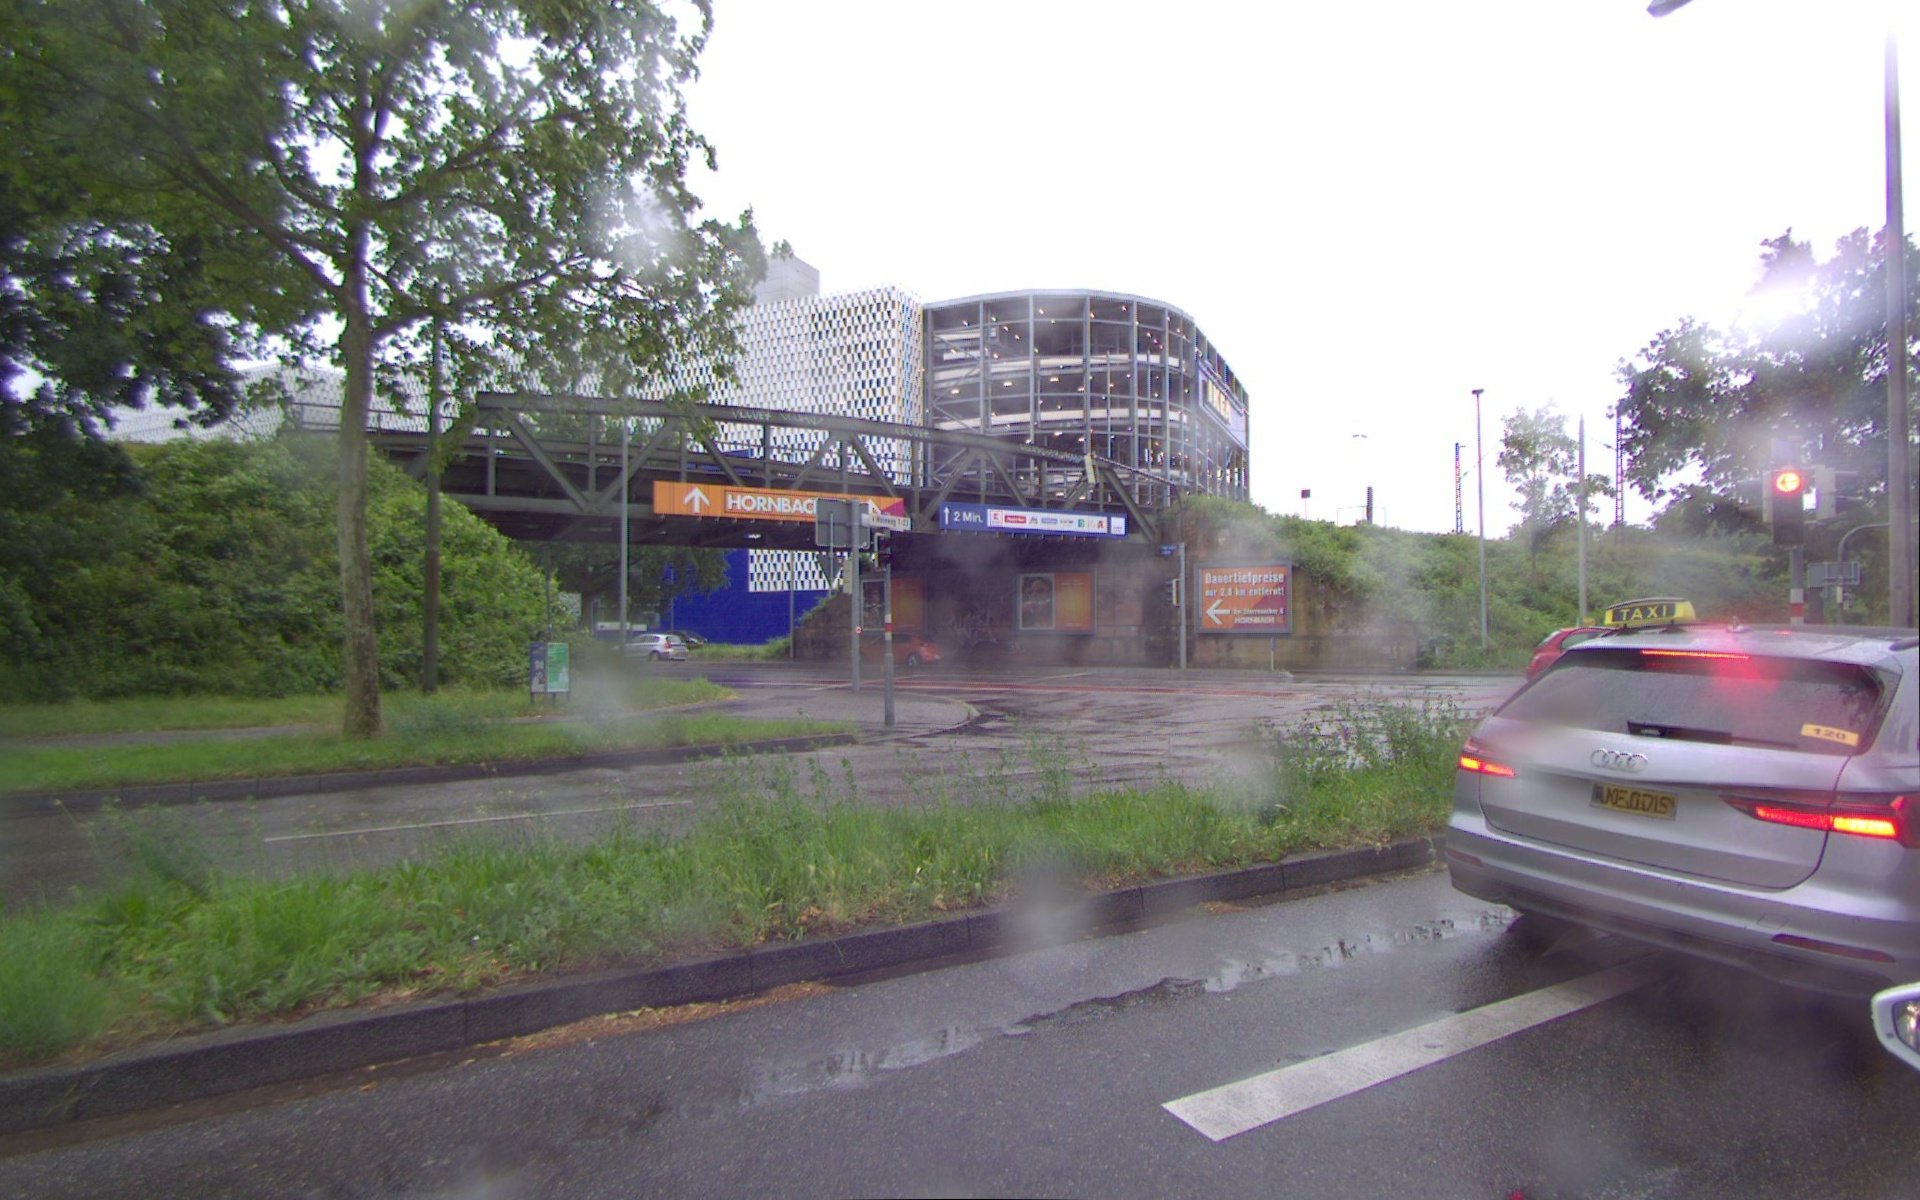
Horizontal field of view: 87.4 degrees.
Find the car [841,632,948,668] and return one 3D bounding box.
[{"bbox_3d":[-2.749,2.056,41.910,4.131,1.392,1.746,0,-2,24],"label":"car"}]

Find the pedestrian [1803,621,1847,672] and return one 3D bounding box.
[{"bbox_3d":[32.380,1.742,37.591,1.122,1.871,1.092,2,-2,-41],"label":"pedestrian"}]

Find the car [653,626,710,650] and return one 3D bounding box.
[{"bbox_3d":[-21.150,2.850,76.287,3.924,1.776,1.790,-1,-2,25],"label":"car"}]

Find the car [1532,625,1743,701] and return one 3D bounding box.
[{"bbox_3d":[14.853,1.332,22.265,3.750,1.510,1.675,0,-1,31],"label":"car"}]

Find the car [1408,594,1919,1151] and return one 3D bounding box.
[{"bbox_3d":[4.421,0.819,4.807,4.766,1.595,1.760,1,0,-31],"label":"car"}]

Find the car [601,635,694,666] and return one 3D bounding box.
[{"bbox_3d":[-14.939,2.377,48.034,4.131,1.392,1.746,0,-2,24],"label":"car"}]
